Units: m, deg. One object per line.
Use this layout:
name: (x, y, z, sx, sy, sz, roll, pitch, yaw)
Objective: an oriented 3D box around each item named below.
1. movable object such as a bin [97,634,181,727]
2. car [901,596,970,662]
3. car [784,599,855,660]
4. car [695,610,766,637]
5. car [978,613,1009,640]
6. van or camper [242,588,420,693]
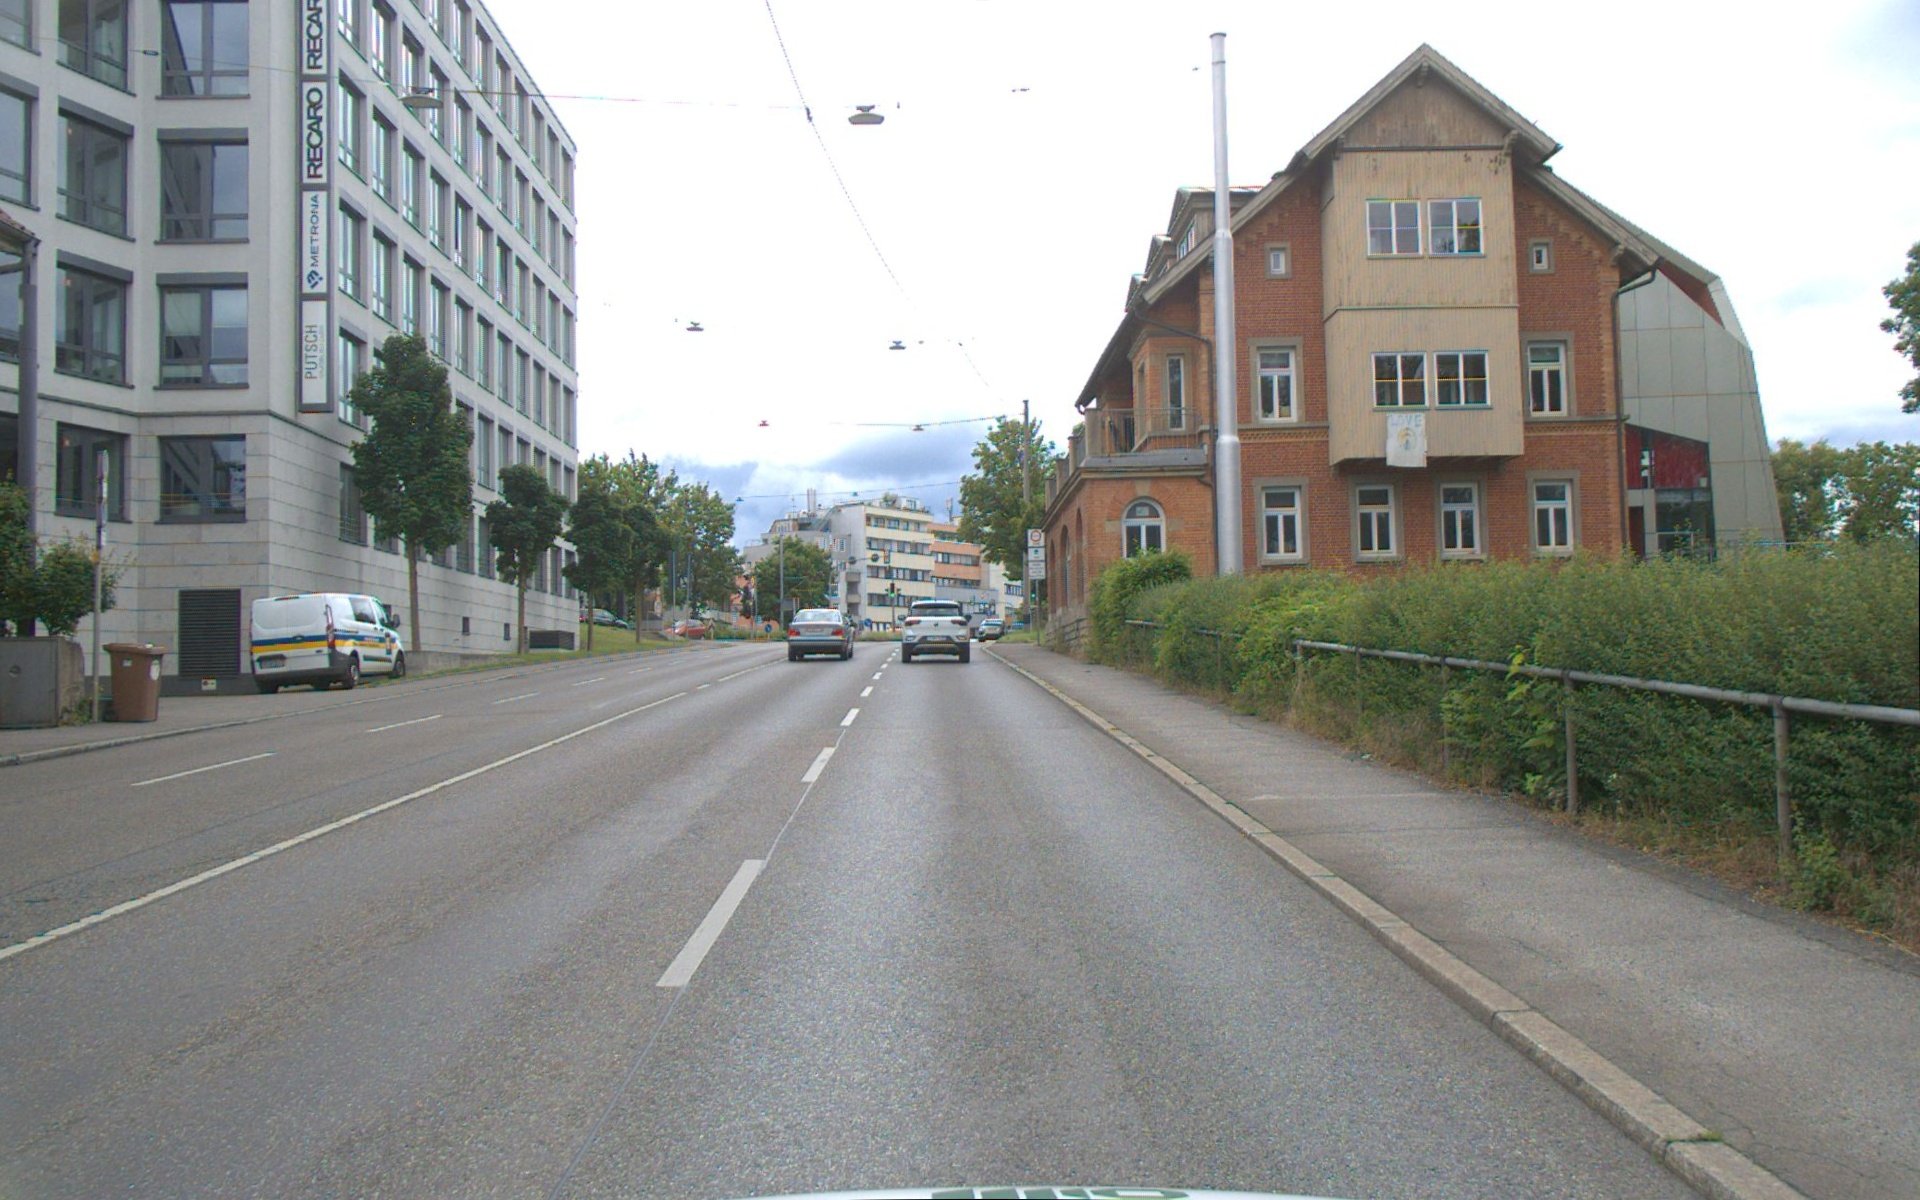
movable object such as a bin: (-11.360, 1.107, 22.901, 0.795, 1.210, 0.697, 3, -1, -7)
car: (-0.649, 0.720, 43.038, 1.665, 1.575, 3.735, 2, 0, -1)
car: (-3.817, 0.777, 45.473, 1.665, 1.542, 3.735, -1, 0, -1)
car: (-13.455, 1.379, 97.145, 1.750, 1.571, 3.975, -2, -2, 42)
car: (2.143, 1.644, 103.746, 1.733, 1.598, 4.286, -1, -1, 3)
van or camper: (-13.521, 0.841, 35.898, 2.019, 2.002, 4.871, -3, 0, -2)
